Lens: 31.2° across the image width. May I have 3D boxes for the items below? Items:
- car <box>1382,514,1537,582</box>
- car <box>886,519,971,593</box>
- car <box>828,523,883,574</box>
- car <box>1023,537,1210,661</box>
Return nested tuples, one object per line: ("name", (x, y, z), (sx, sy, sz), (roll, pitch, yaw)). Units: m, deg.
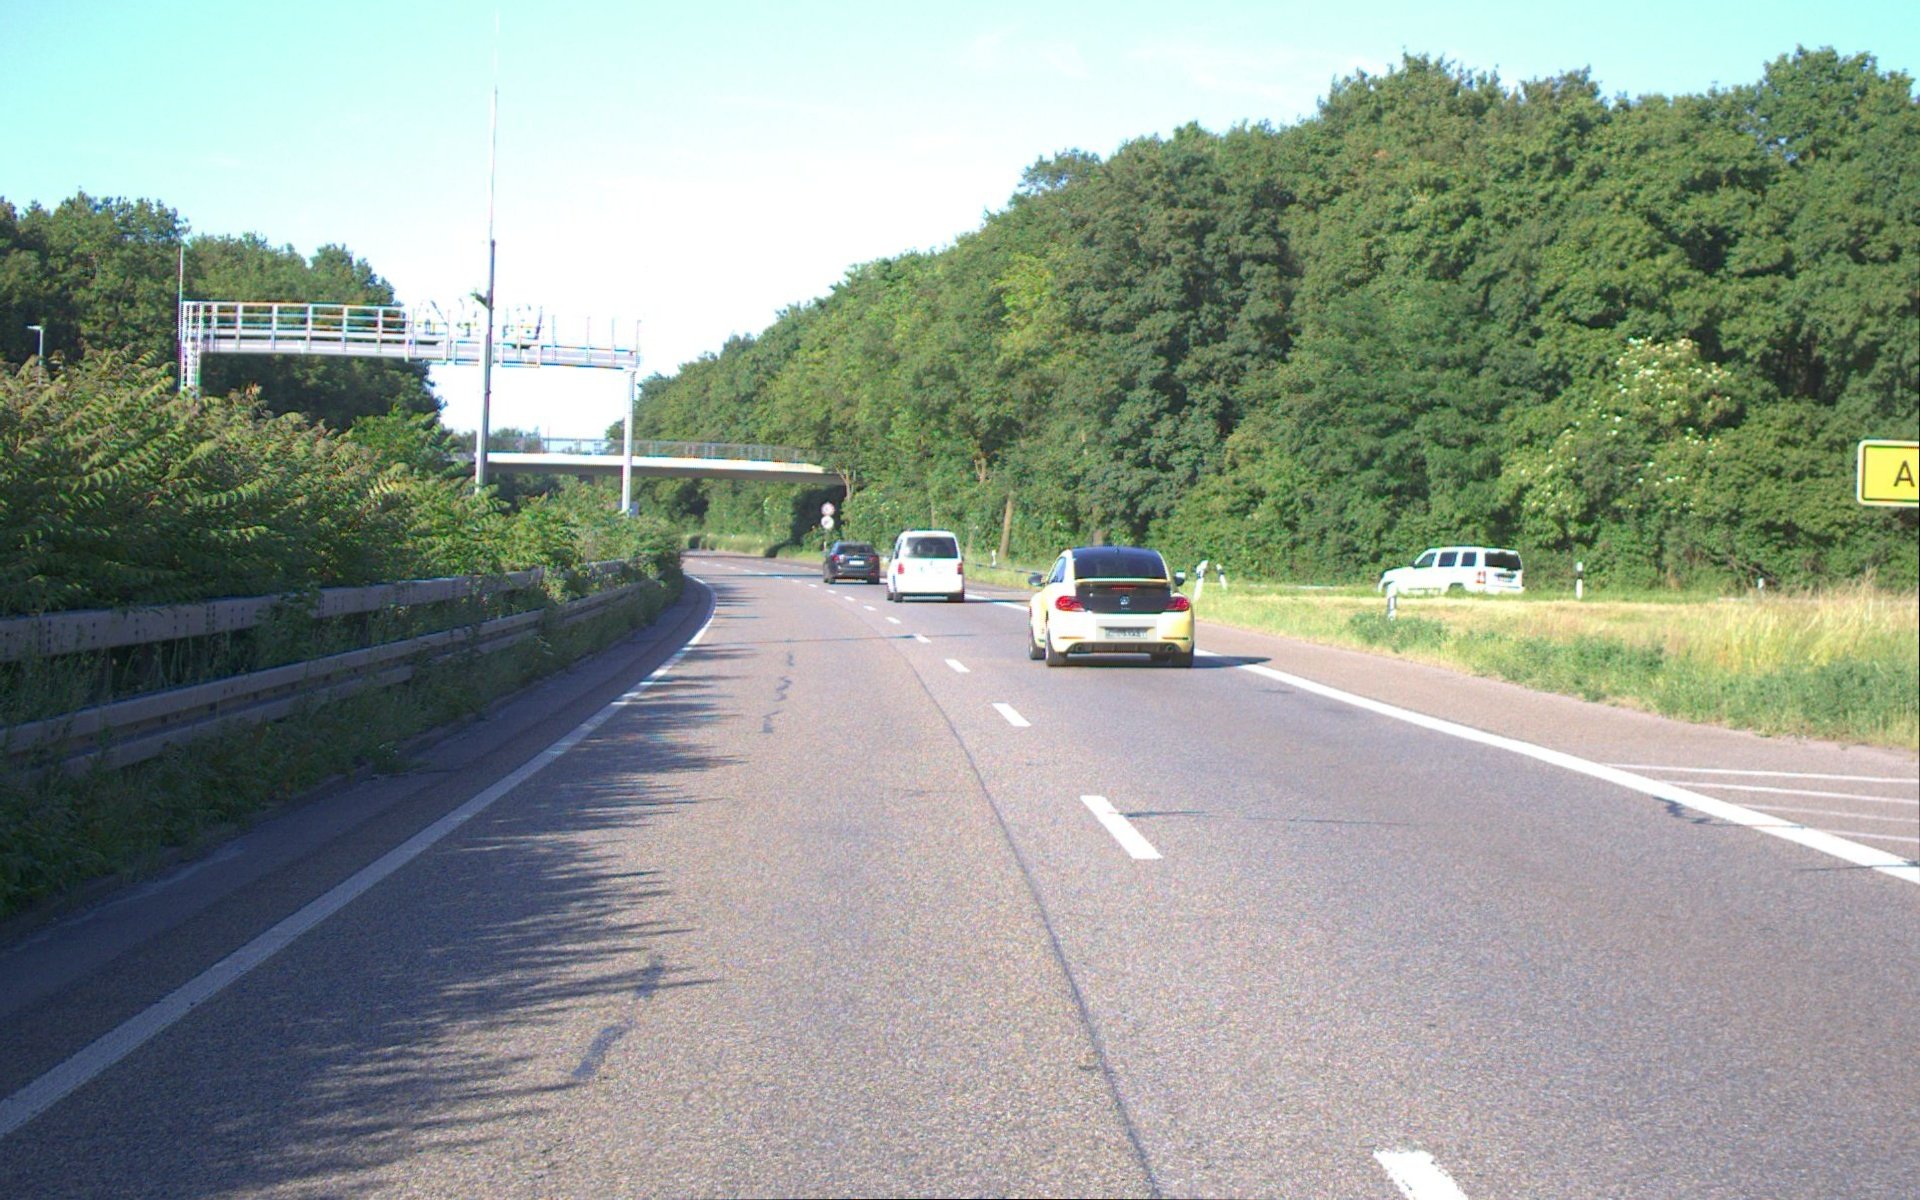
("car", (13.492, -1.422, 93.040), (1.897, 1.817, 3.999), (-1, 1, -35))
("car", (-0.815, -1.131, 86.407), (1.897, 1.761, 4.001), (-1, 2, -4))
("car", (-3.658, -1.818, 120.487), (1.897, 1.761, 4.001), (0, 1, -2))
("car", (1.900, -0.048, 42.896), (1.897, 1.466, 4.001), (0, 1, -4))
